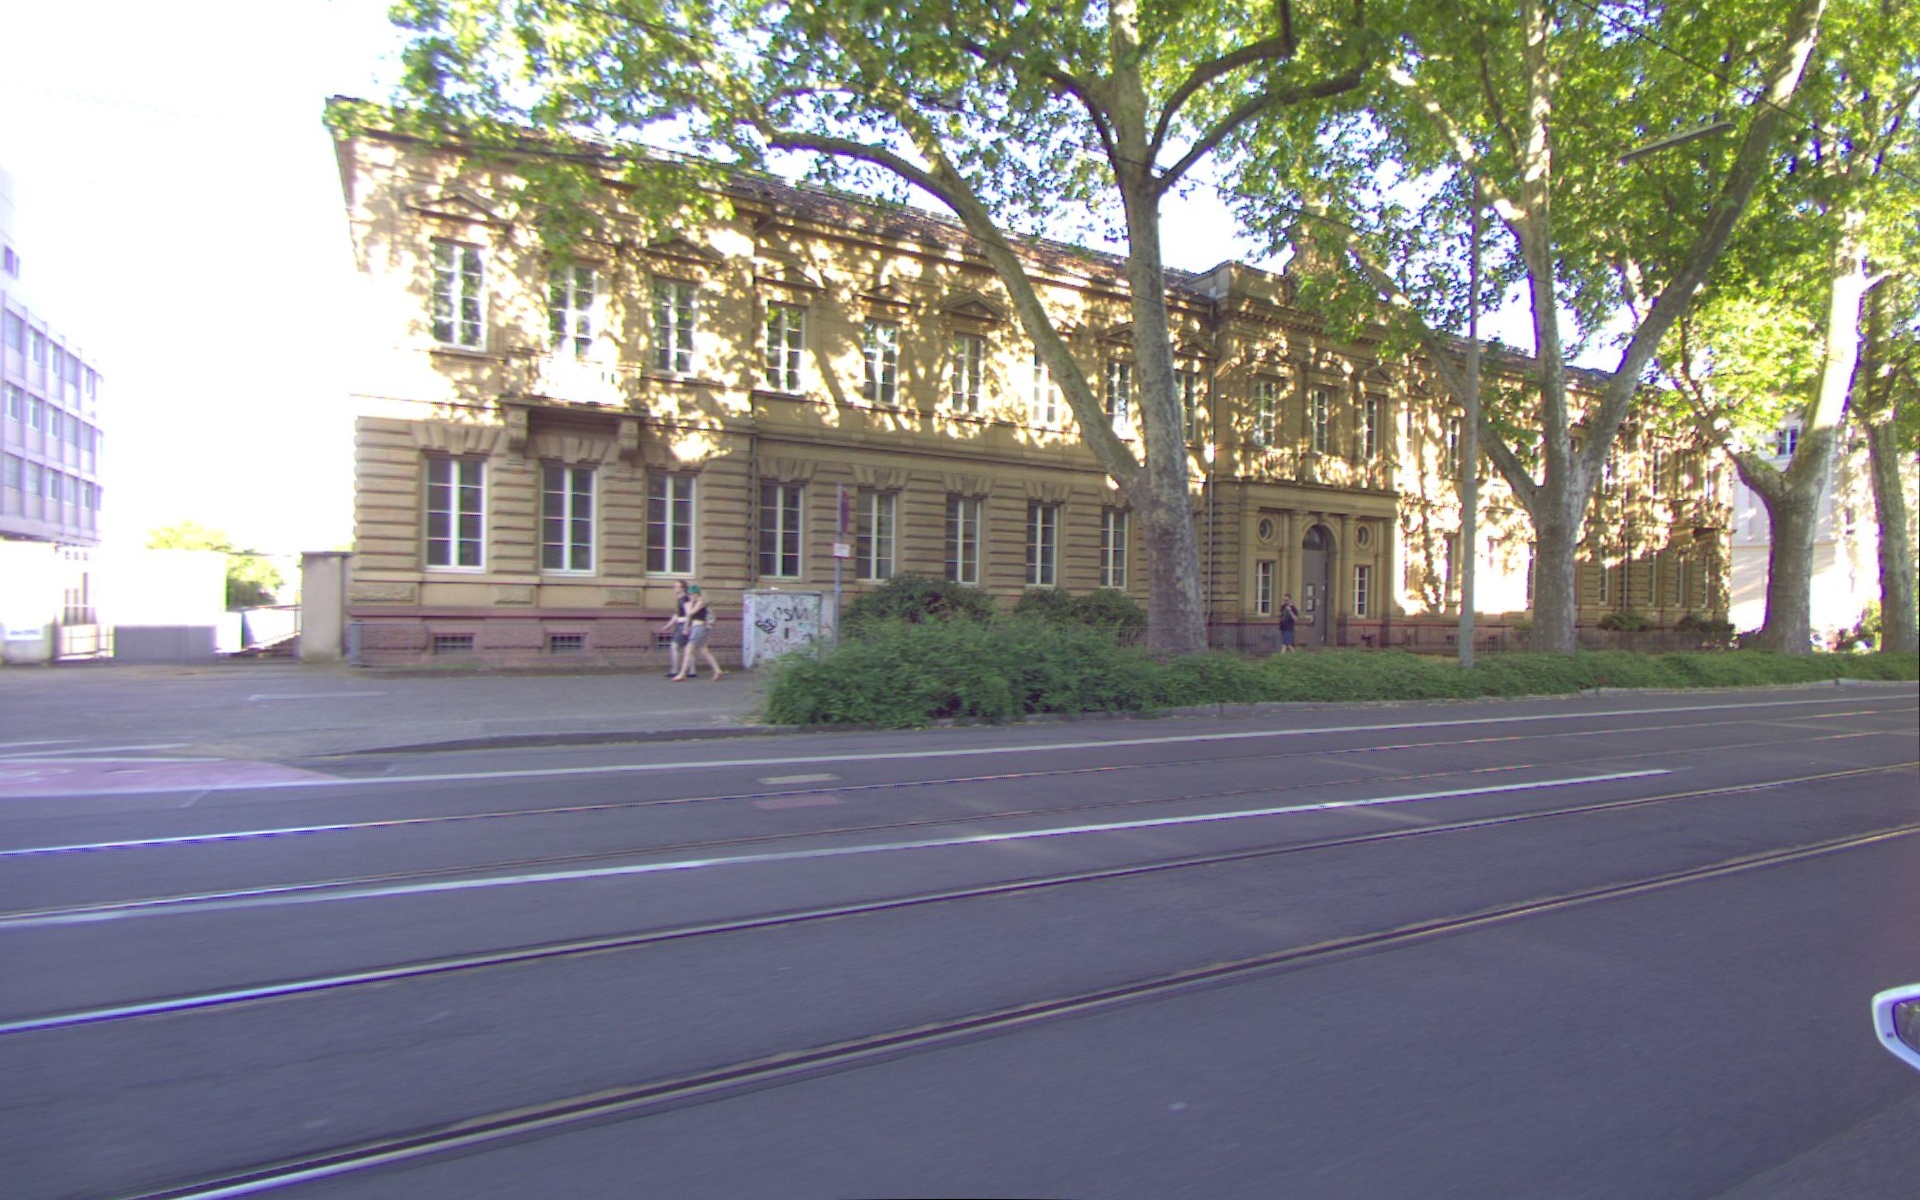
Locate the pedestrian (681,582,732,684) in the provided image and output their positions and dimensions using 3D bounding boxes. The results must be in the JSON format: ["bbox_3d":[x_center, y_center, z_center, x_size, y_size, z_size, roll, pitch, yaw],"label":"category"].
[{"bbox_3d":[-4.427,0.565,17.542,0.650,1.720,0.629,1,1,-37],"label":"pedestrian"}]

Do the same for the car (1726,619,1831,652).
[{"bbox_3d":[40.920,1.753,50.291,1.673,1.437,3.761,-2,1,-28],"label":"car"}]

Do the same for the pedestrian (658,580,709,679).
[{"bbox_3d":[-4.957,0.512,17.982,0.656,1.720,0.666,1,1,-37],"label":"pedestrian"}]

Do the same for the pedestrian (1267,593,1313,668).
[{"bbox_3d":[8.463,0.781,25.787,0.828,1.874,0.715,1,1,-30],"label":"pedestrian"}]
